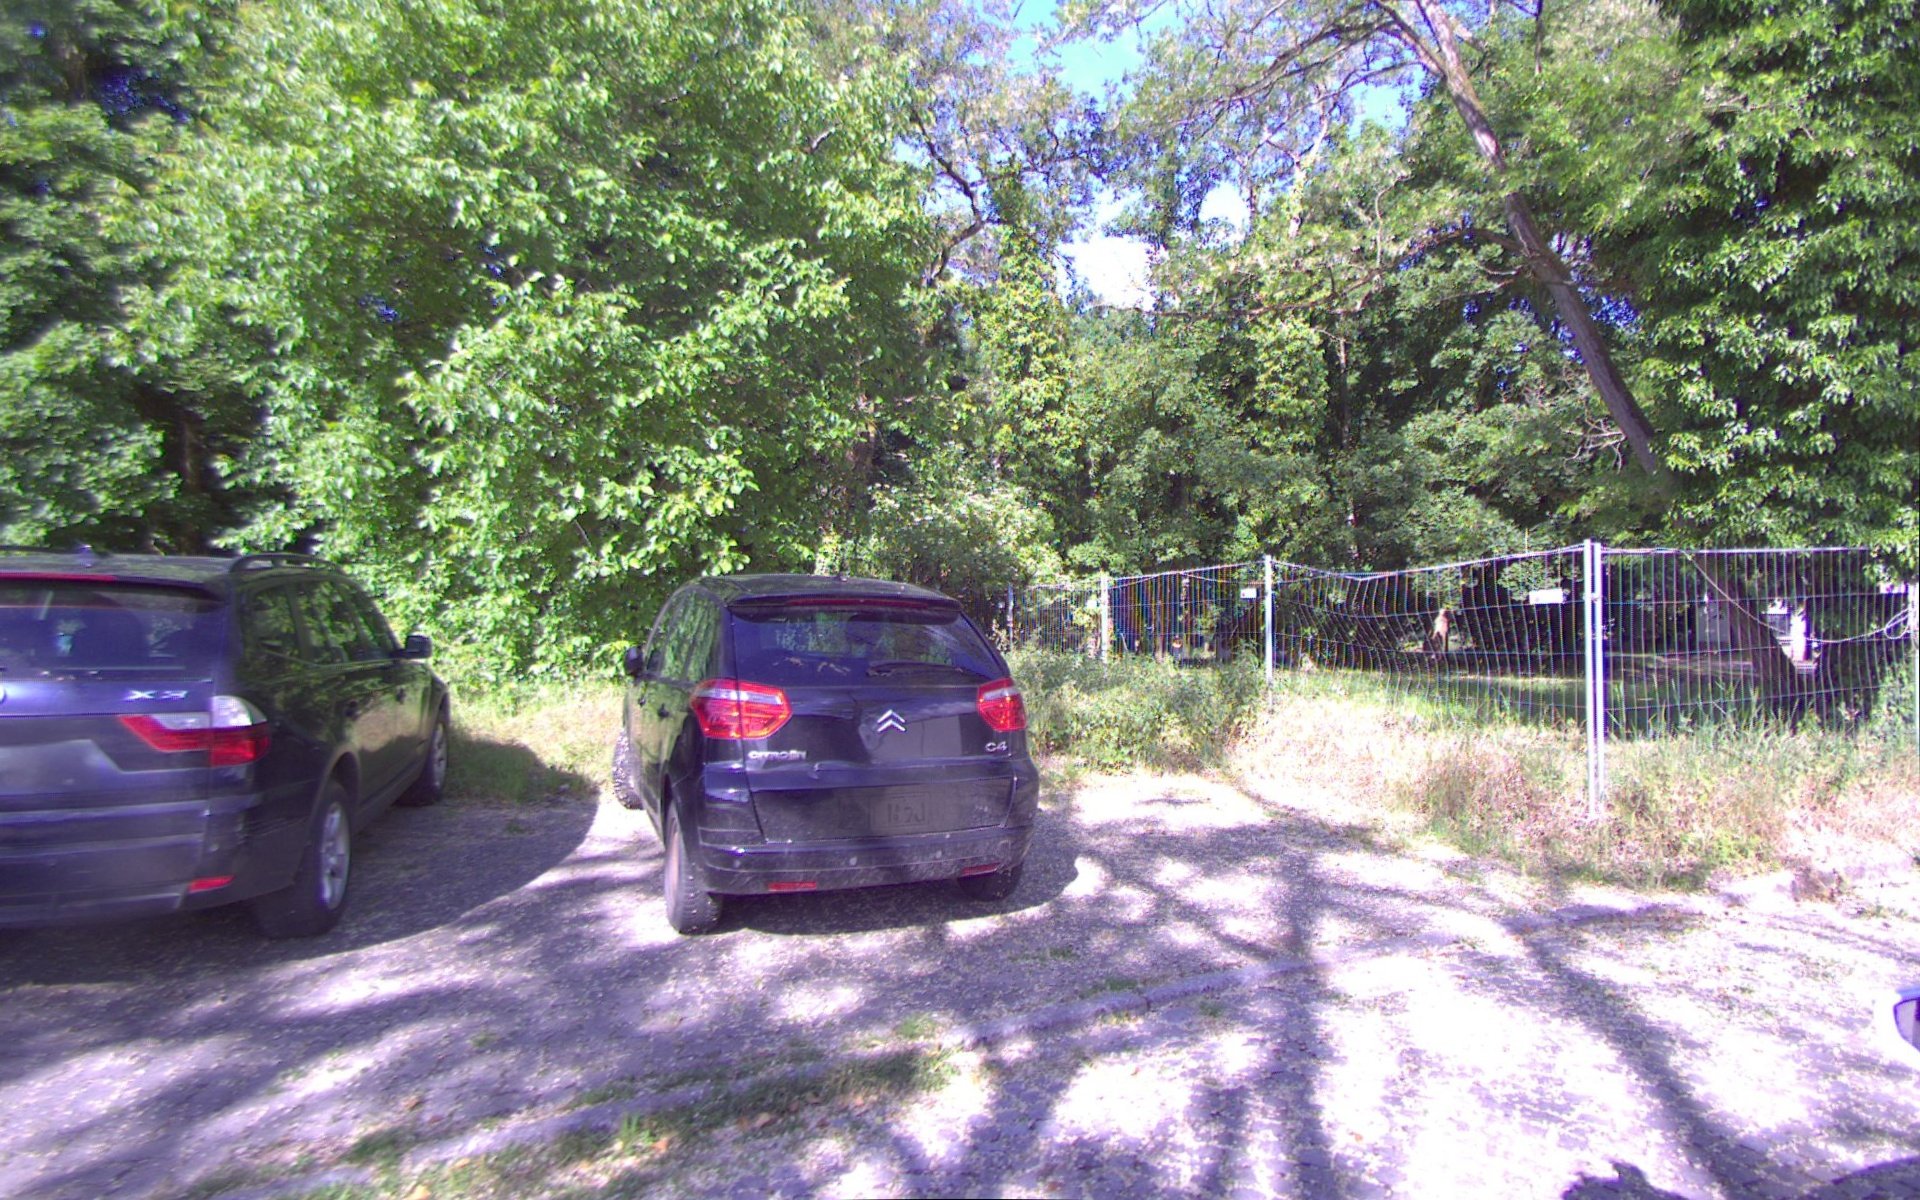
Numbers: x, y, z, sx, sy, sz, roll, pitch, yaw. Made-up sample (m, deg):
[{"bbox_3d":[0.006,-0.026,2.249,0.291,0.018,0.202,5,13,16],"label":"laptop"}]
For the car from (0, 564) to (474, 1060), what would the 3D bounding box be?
[{"bbox_3d":[-3.968,0.670,5.367,1.851,1.653,4.256,2,1,-18],"label":"car"}]

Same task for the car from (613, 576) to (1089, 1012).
[{"bbox_3d":[-1.062,0.722,6.224,1.803,1.611,4.249,0,2,-23],"label":"car"}]

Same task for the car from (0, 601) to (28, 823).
[{"bbox_3d":[-6.849,0.726,4.887,1.714,1.470,3.715,2,0,-13],"label":"car"}]
